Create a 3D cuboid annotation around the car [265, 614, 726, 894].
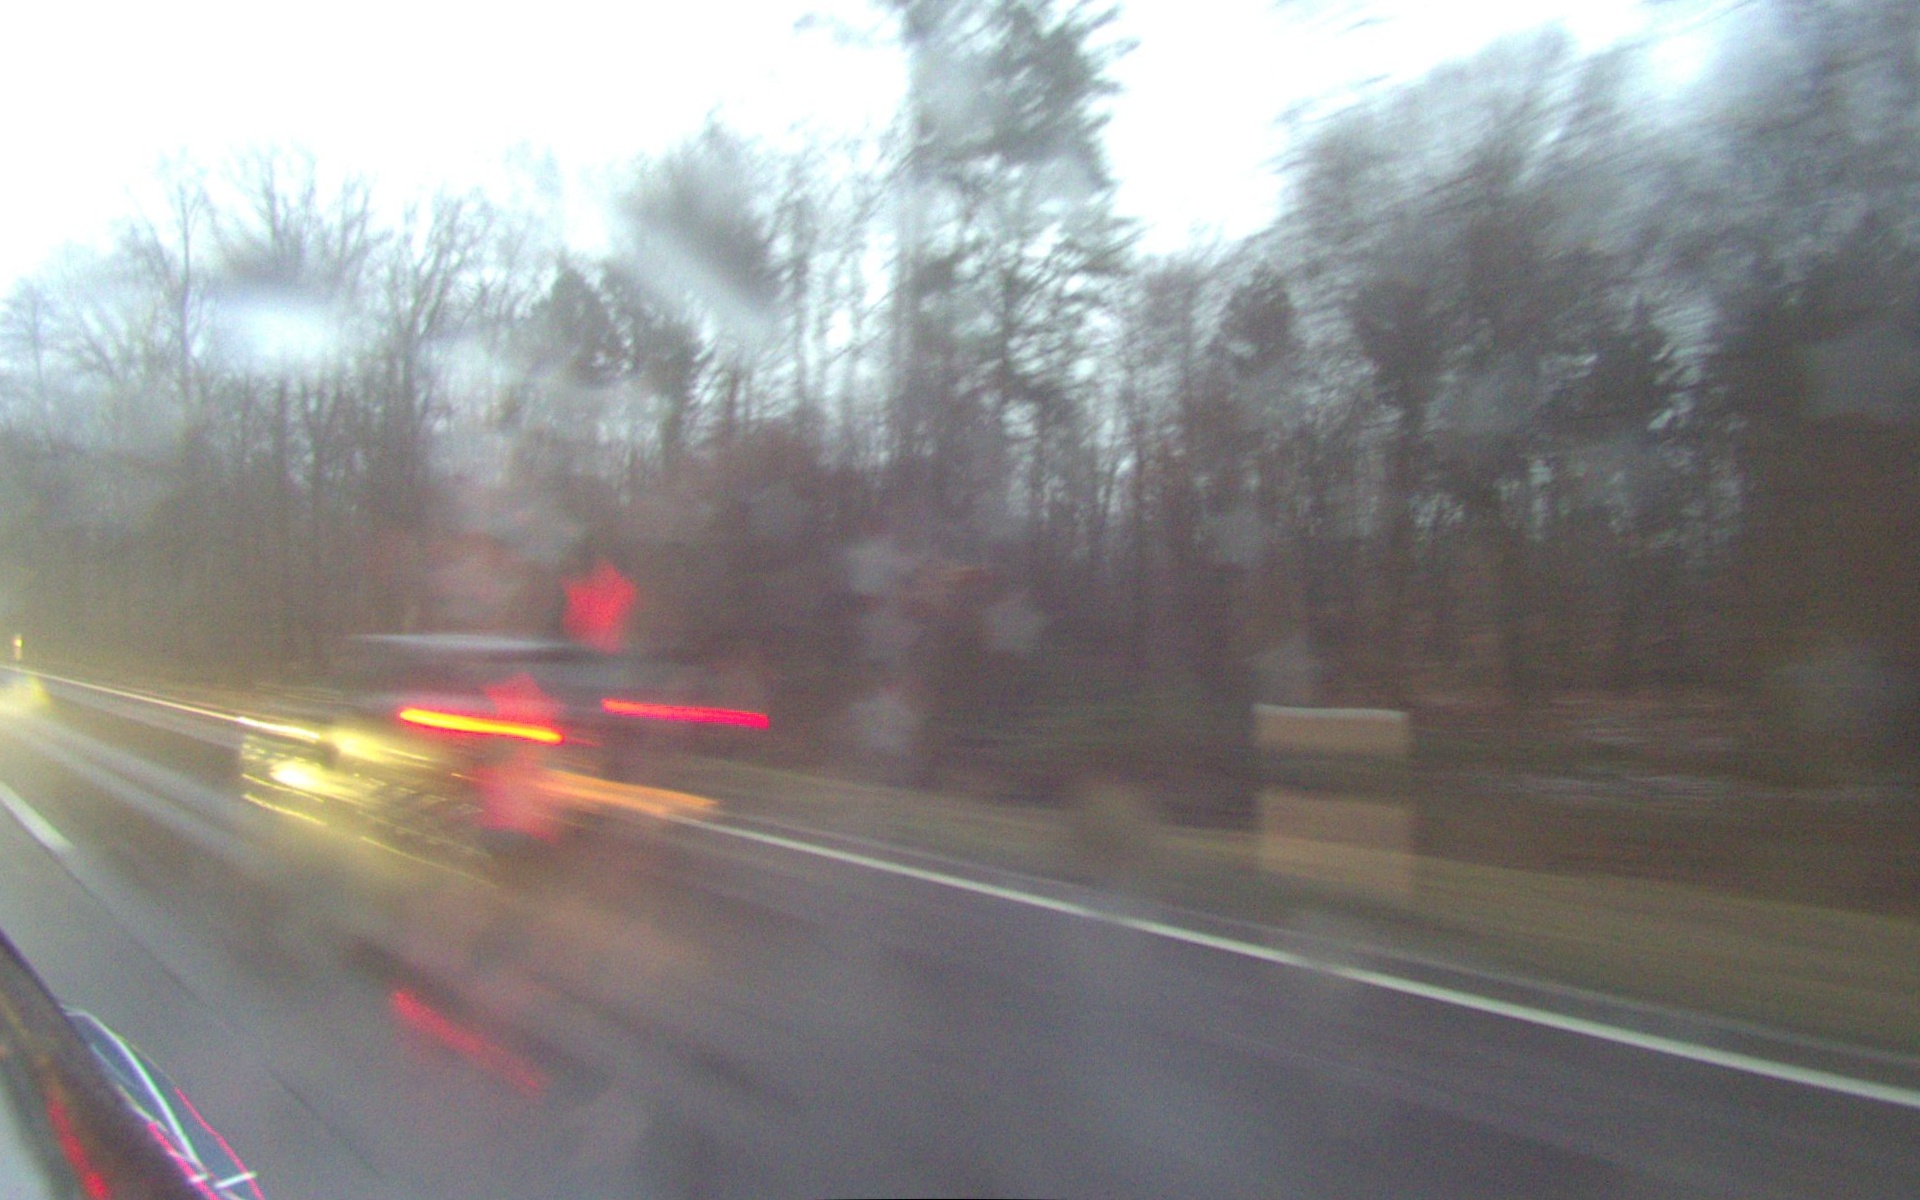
[{"bbox_3d":[-3.340,0.861,6.979,3.659,1.424,1.497,-1,-4,42],"label":"car"}]
